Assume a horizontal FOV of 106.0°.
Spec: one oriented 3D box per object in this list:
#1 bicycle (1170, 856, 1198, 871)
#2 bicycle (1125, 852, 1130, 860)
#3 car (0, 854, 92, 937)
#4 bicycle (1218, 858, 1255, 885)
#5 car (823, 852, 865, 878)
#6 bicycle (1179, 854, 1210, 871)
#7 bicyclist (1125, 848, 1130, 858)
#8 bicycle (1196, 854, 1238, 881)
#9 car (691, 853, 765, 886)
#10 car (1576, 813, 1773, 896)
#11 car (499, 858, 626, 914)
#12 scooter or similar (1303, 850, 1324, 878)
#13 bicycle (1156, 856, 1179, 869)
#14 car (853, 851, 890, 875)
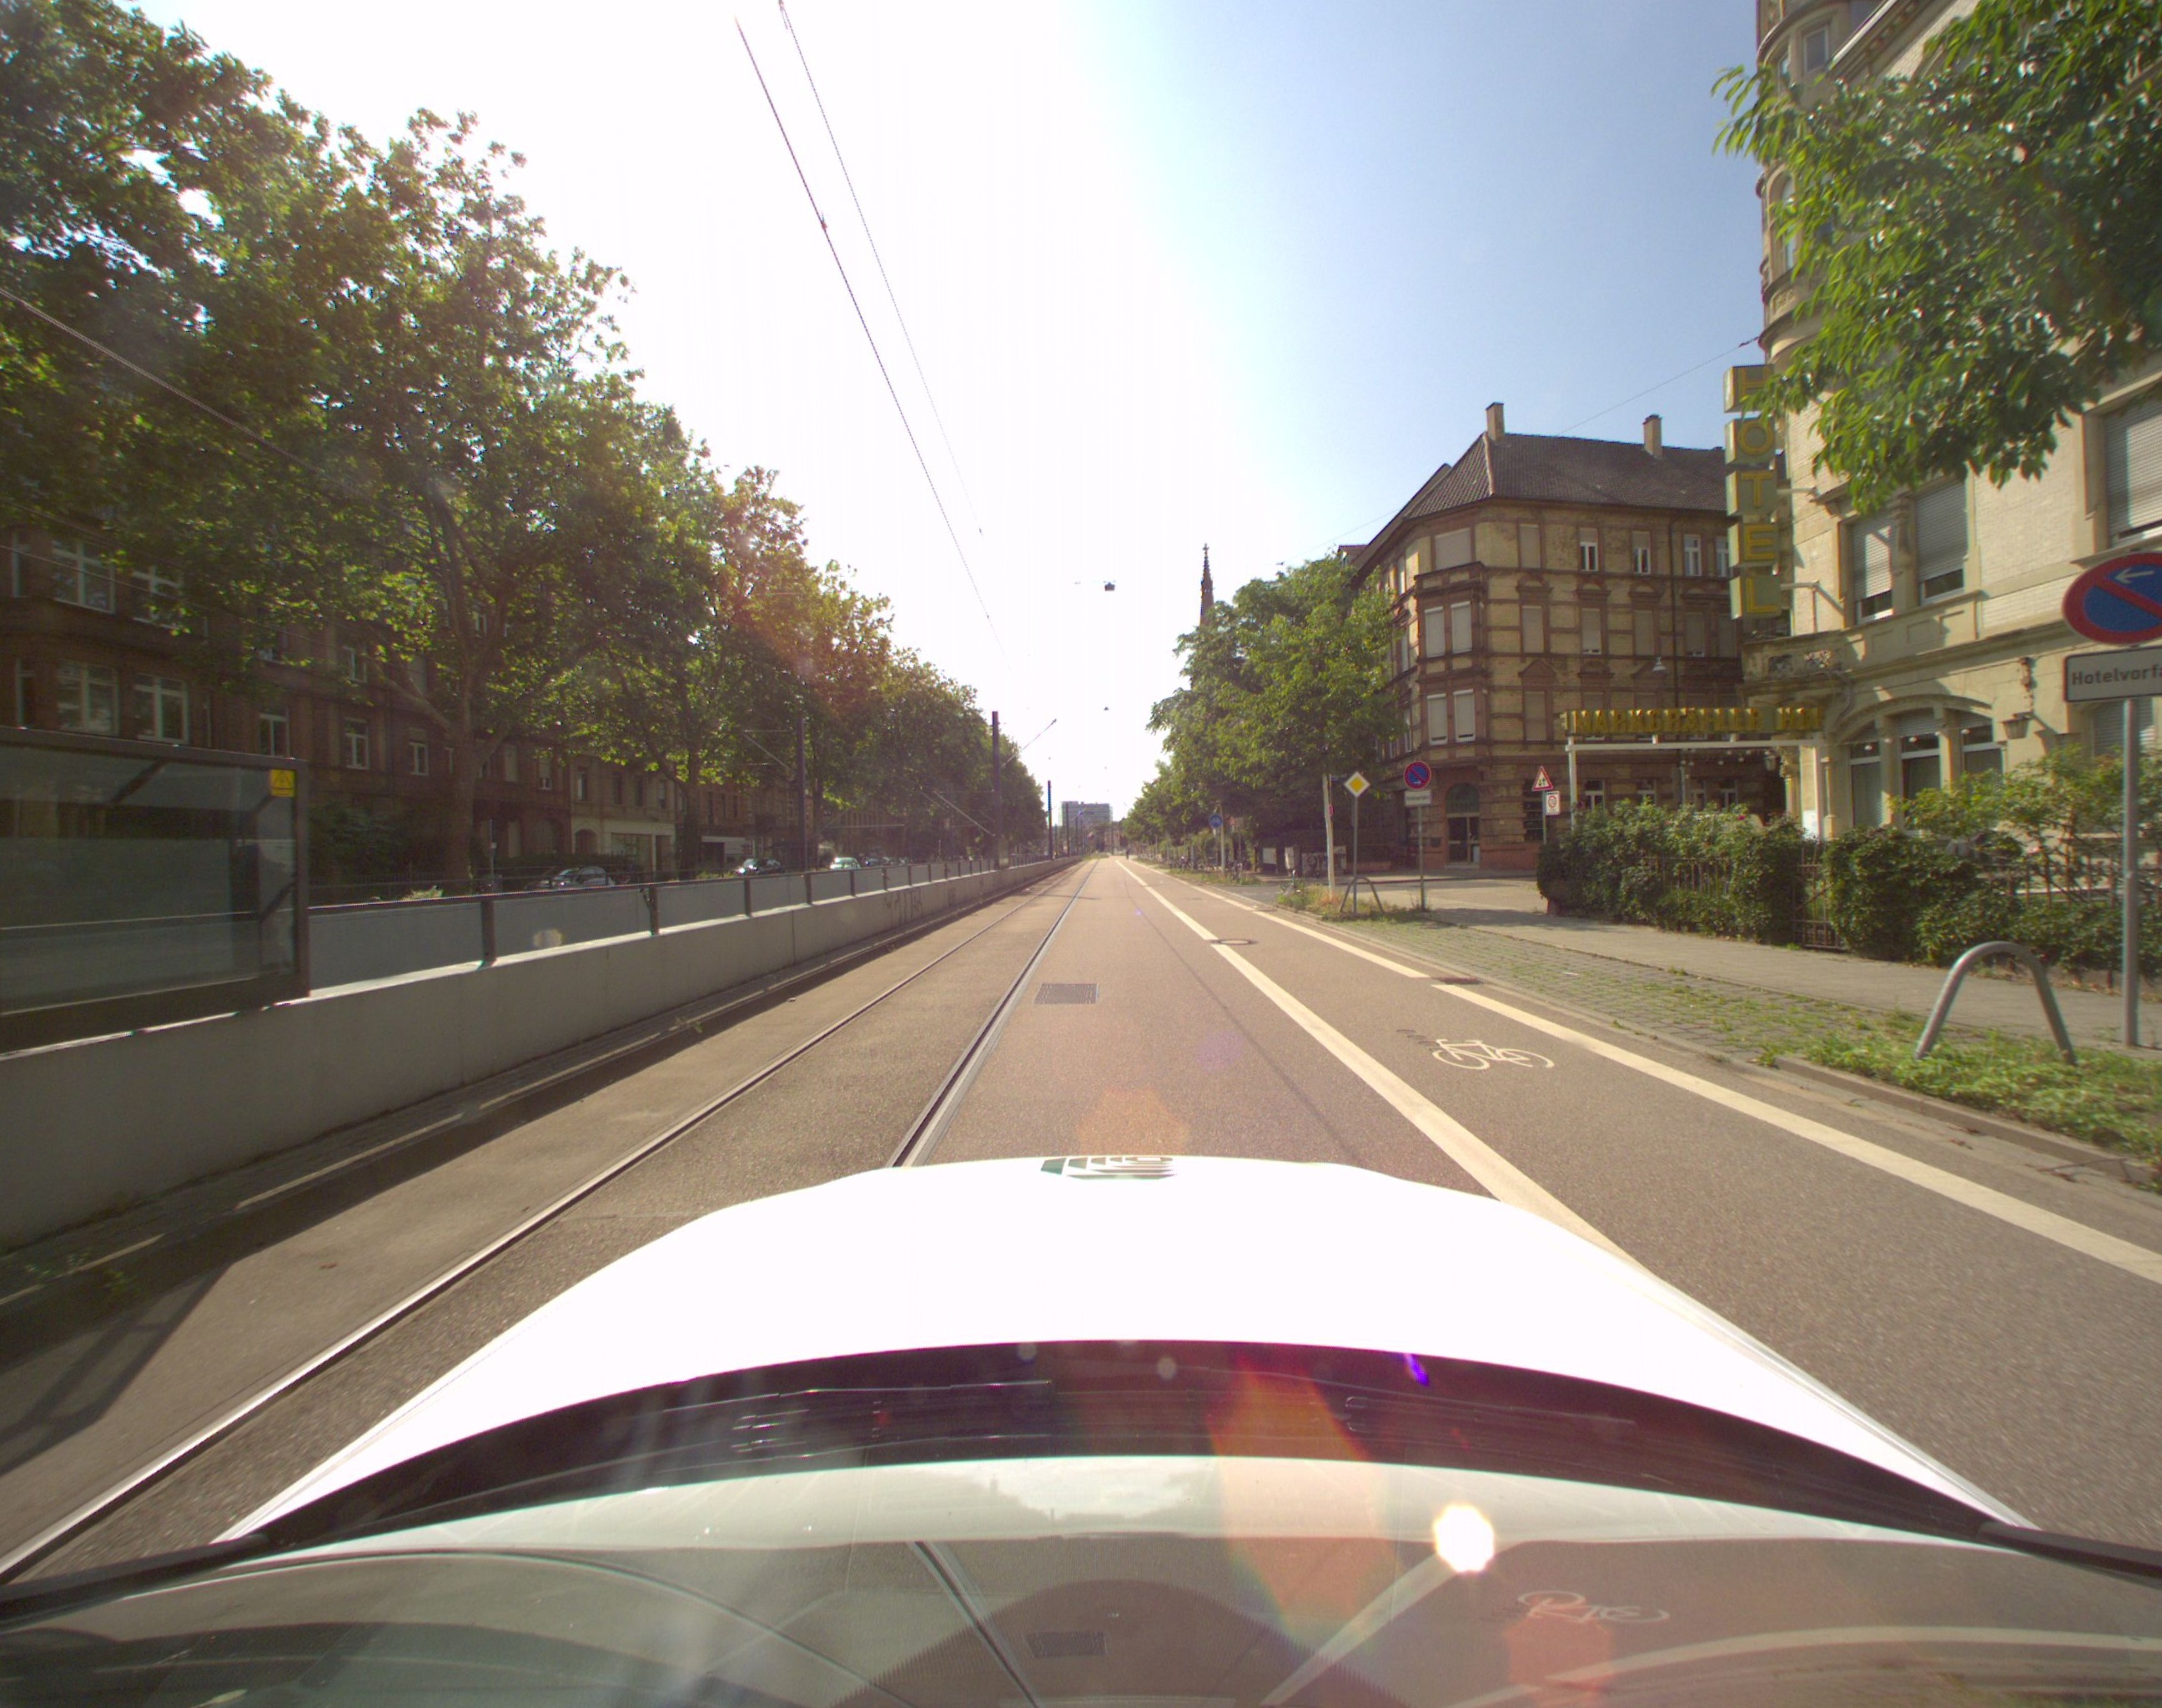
[{"bbox_3d":[7.161,0.639,56.663,1.811,0.902,0.603,-4,0,-2],"label":"bicycle"},{"bbox_3d":[7.616,0.296,134.083,0.796,1.237,2.779,-1,0,2],"label":"bicycle"},{"bbox_3d":[-27.187,1.009,19.526,4.387,1.918,2.000,-1,0,0],"label":"car"},{"bbox_3d":[6.461,0.711,33.912,0.652,1.038,1.810,-4,0,-20],"label":"bicycle"},{"bbox_3d":[-17.980,0.821,61.959,1.832,1.727,4.002,-4,0,2],"label":"car"},{"bbox_3d":[7.185,0.534,51.725,1.811,0.902,0.651,-4,0,-2],"label":"bicycle"},{"bbox_3d":[7.600,-0.143,134.064,0.767,1.730,1.027,-1,0,2],"label":"bicyclist"},{"bbox_3d":[6.521,0.648,39.089,1.816,1.145,0.649,-4,0,-10],"label":"bicycle"},{"bbox_3d":[-18.733,0.791,43.440,1.985,1.636,4.004,-1,0,4],"label":"car"},{"bbox_3d":[16.997,0.053,23.646,1.993,2.105,4.471,-2,-1,-9],"label":"car"},{"bbox_3d":[-18.412,1.090,29.150,1.709,1.691,3.738,-3,1,8],"label":"car"},{"bbox_3d":[10.030,0.439,35.154,0.459,1.158,1.574,-3,0,2],"label":"scooter or similar"},{"bbox_3d":[7.192,0.699,67.933,1.811,0.902,0.603,-4,0,-2],"label":"bicycle"},{"bbox_3d":[-17.201,0.728,67.026,1.832,1.727,4.002,-4,0,2],"label":"car"}]
